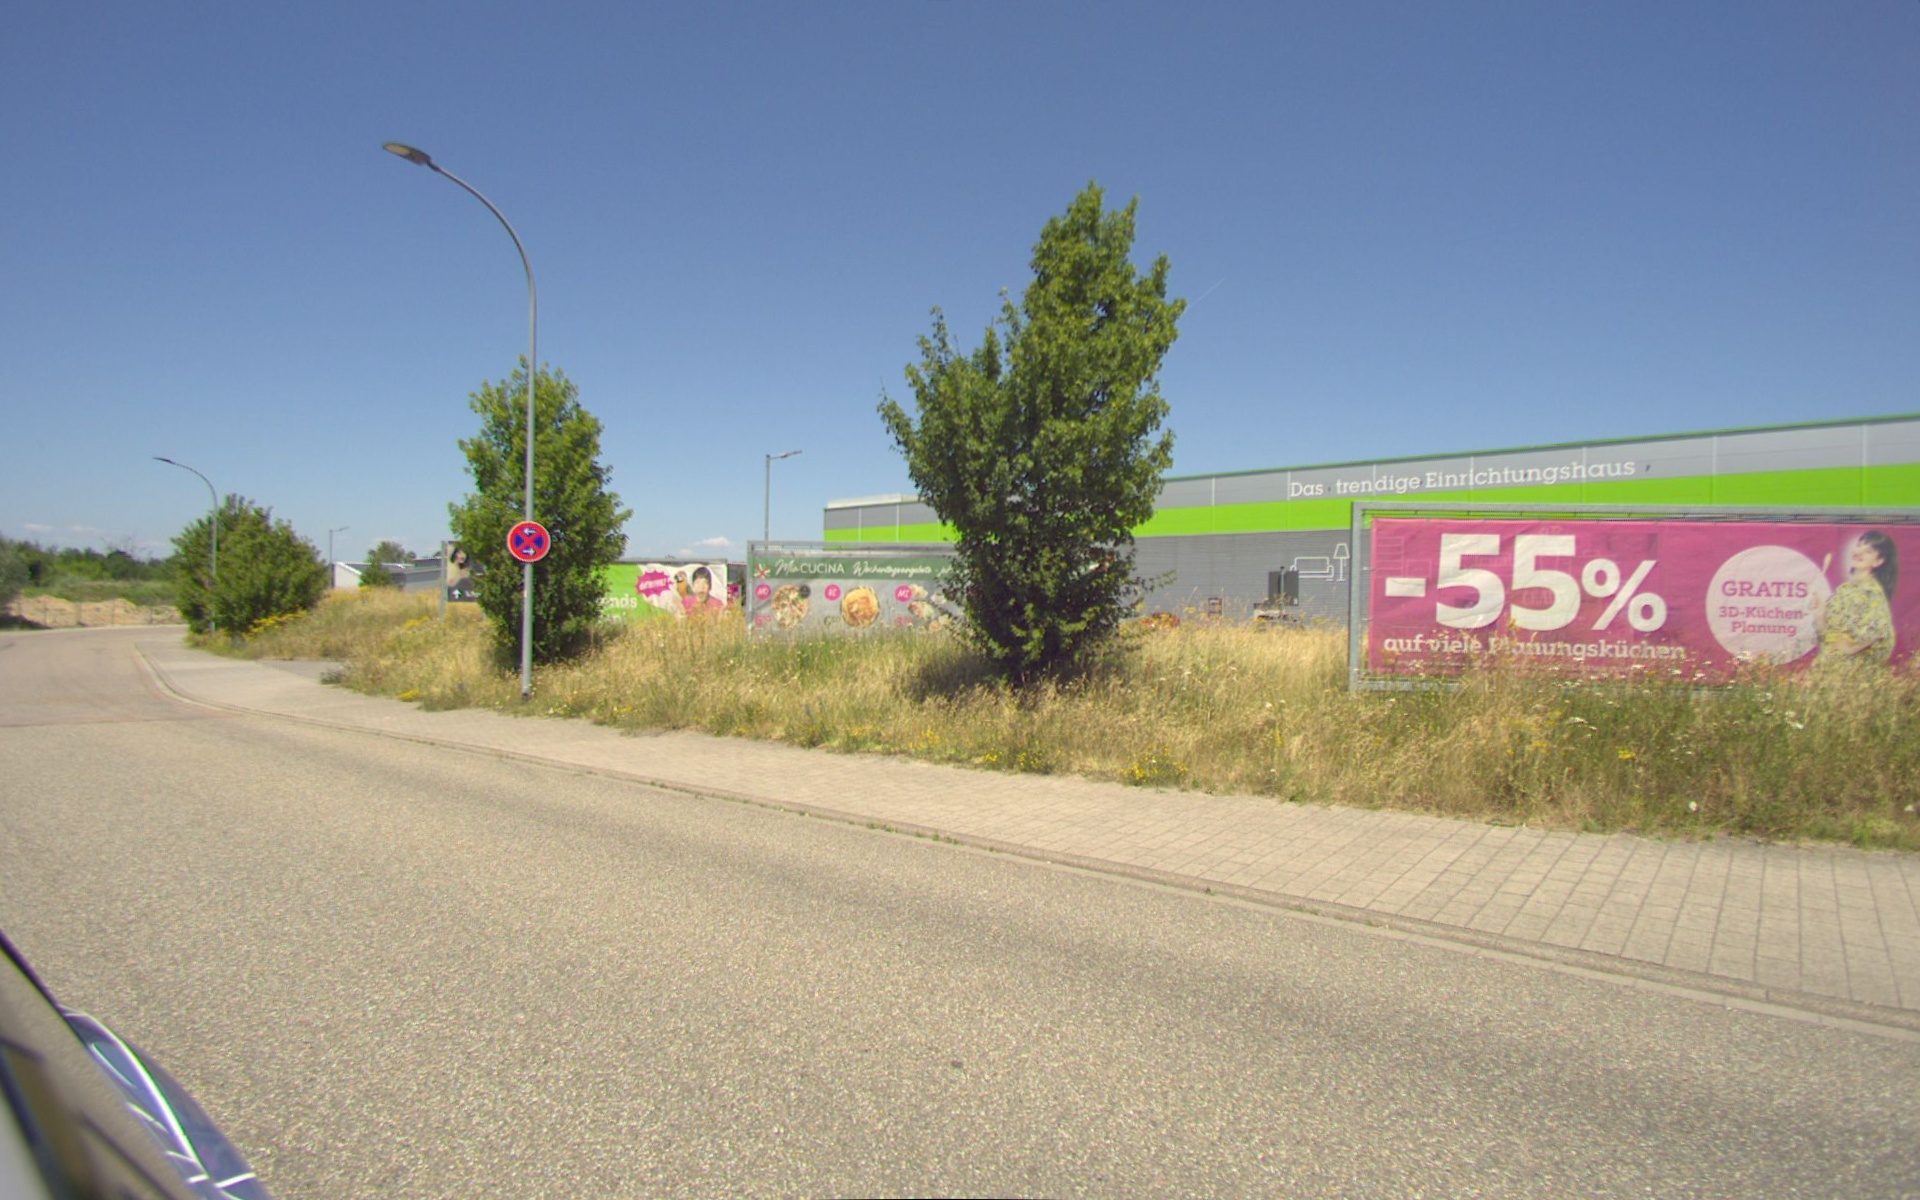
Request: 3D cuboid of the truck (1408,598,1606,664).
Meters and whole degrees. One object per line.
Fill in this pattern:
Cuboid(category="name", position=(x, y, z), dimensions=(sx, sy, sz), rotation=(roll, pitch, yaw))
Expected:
Cuboid(category="truck", position=(24.486, 1.347, 45.415), dimensions=(7.649, 2.704, 2.969), rotation=(-1, 0, -12))
